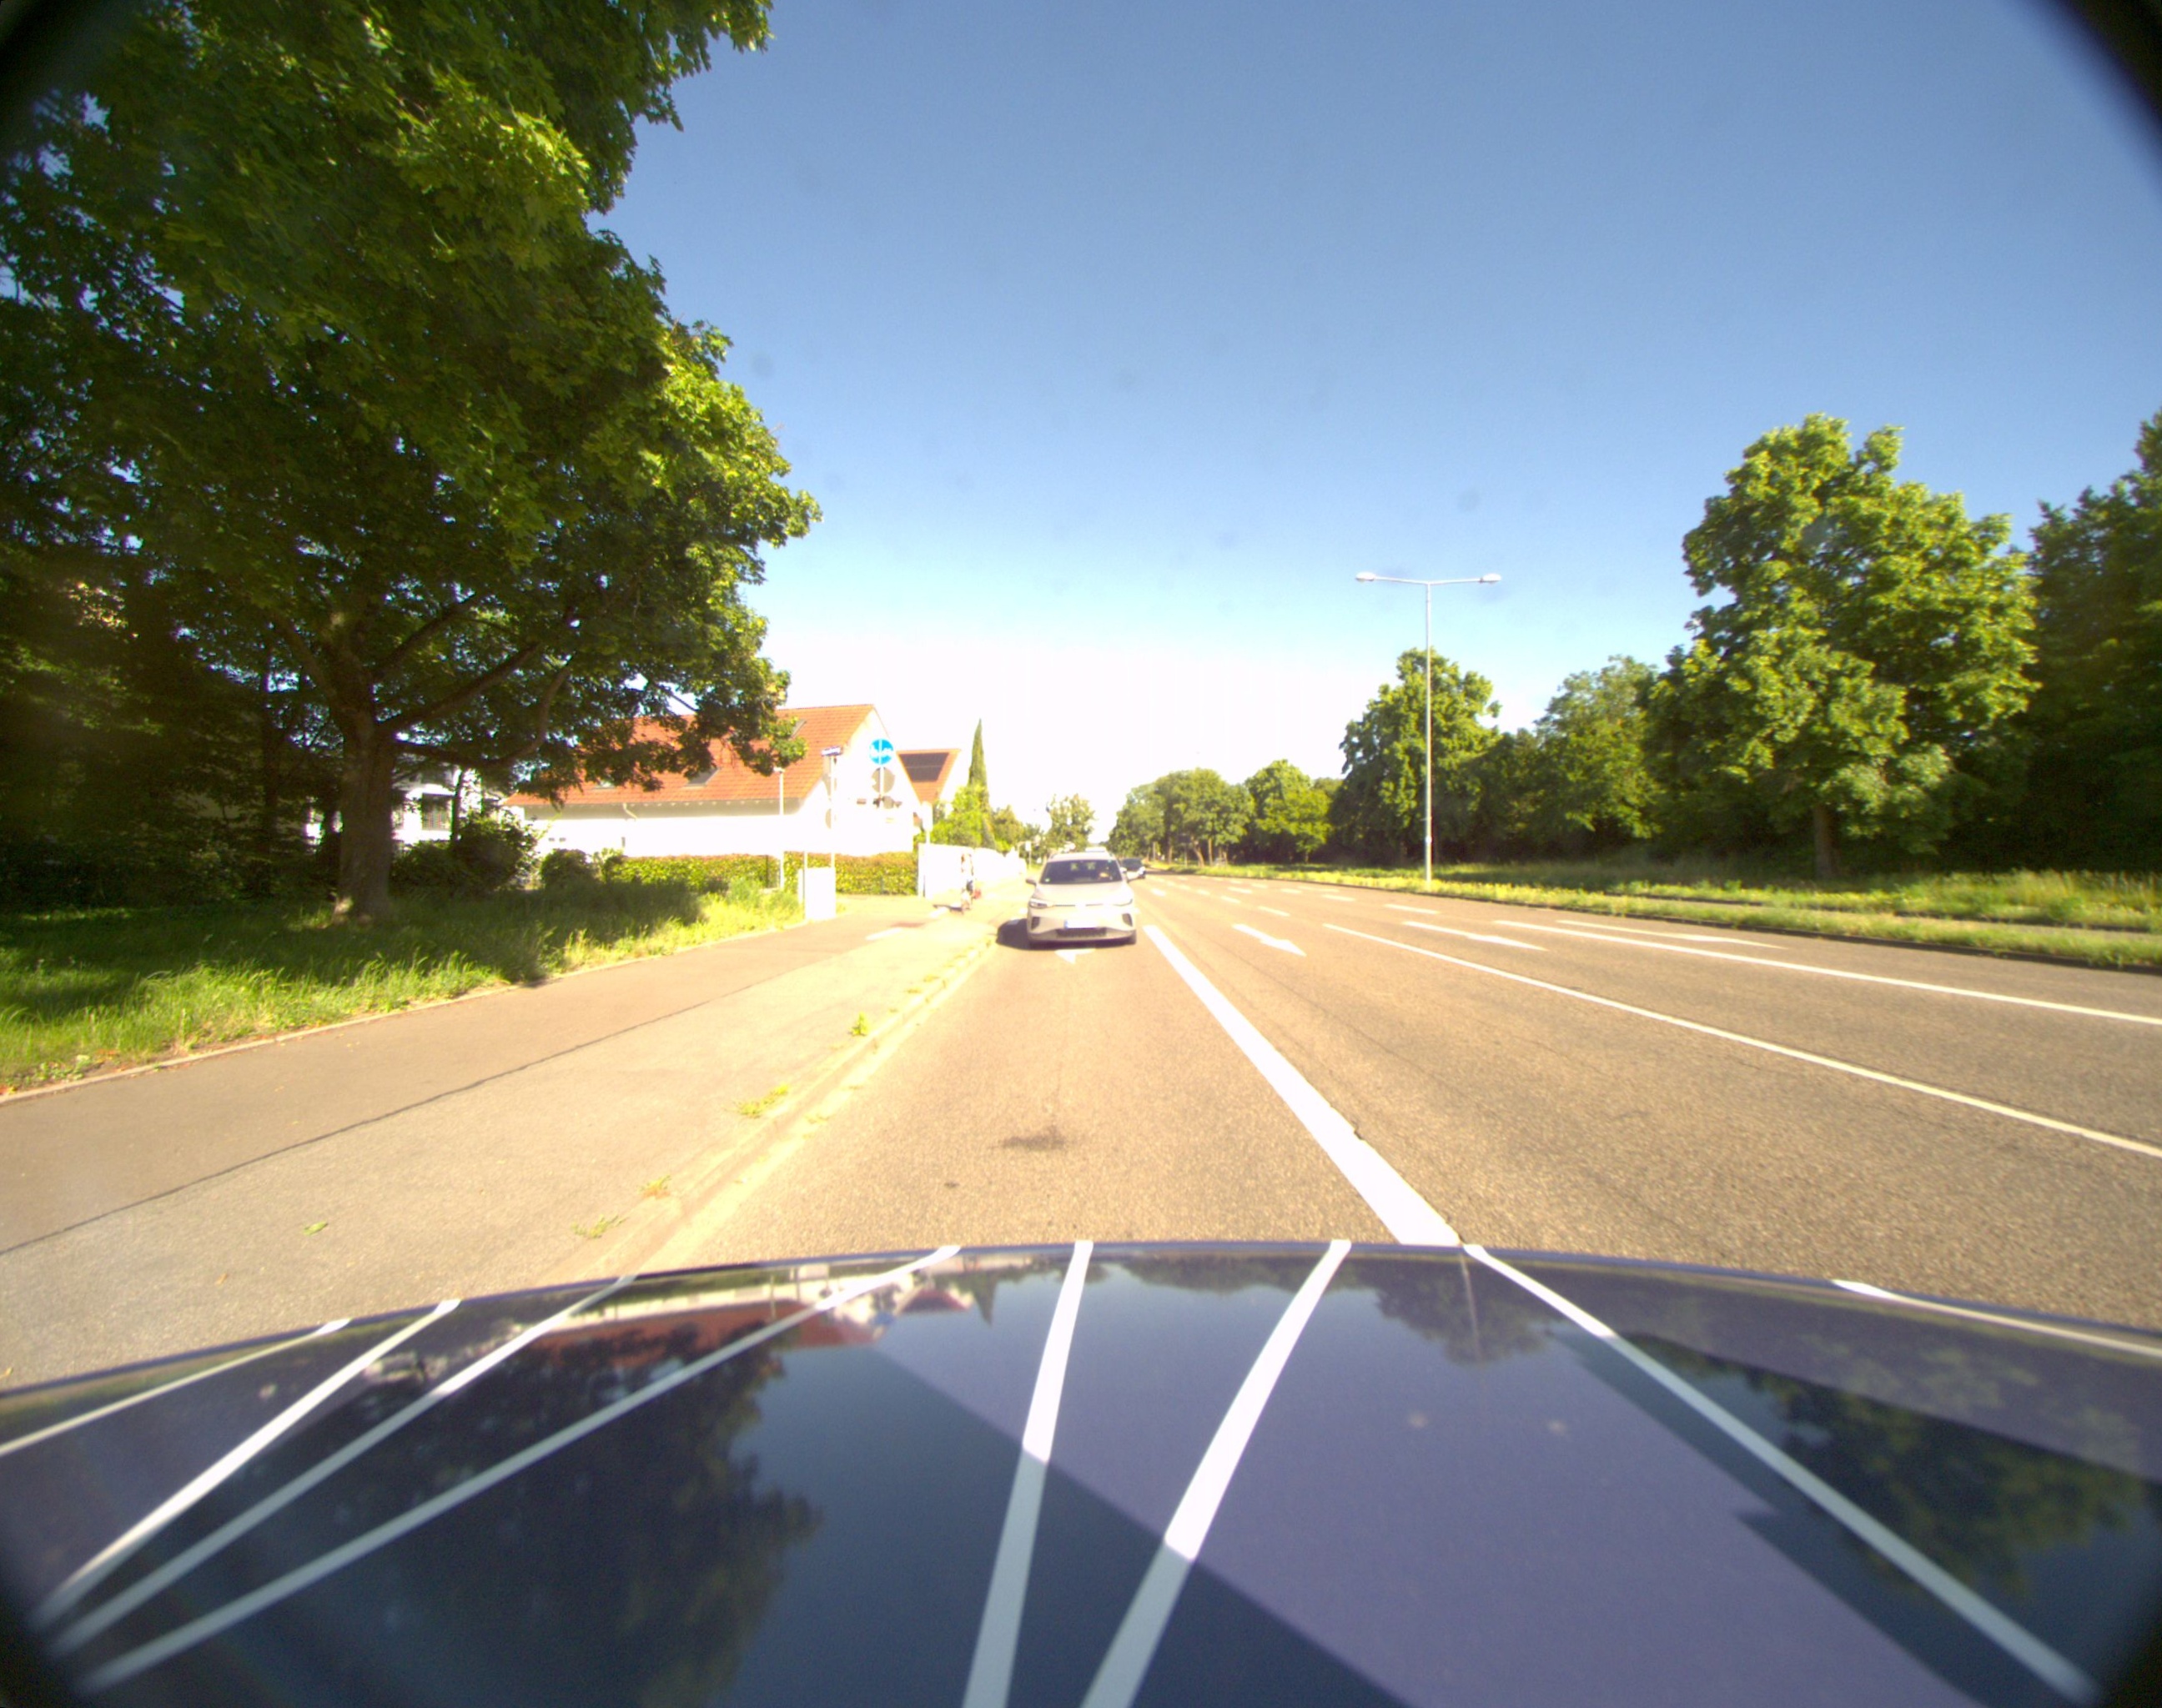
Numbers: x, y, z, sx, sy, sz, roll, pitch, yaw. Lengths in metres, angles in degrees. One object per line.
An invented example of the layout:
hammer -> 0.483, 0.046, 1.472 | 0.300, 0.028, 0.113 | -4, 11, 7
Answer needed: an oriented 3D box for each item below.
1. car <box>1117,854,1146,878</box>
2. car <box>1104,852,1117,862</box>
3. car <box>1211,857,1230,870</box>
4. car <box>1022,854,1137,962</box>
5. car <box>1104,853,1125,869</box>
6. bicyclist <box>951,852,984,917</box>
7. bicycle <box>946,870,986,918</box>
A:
car -> 3.543, 0.824, 54.202 | 1.766, 1.606, 4.297 | -2, 1, 1
car -> 4.886, 0.448, 125.581 | 1.856, 1.576, 3.998 | -2, 1, -3
car -> 19.818, 1.339, 107.929 | 1.917, 1.693, 4.407 | -2, 1, 1
car -> 0.000, 0.870, 14.327 | 1.766, 1.606, 4.297 | -3, 1, 1
car -> 3.525, 0.698, 80.520 | 1.856, 1.576, 3.998 | -2, 1, -3
bicyclist -> -3.017, 0.789, 20.219 | 0.631, 1.624, 0.982 | 3, 2, 3
bicycle -> -3.034, 1.033, 20.199 | 0.575, 1.148, 2.141 | 3, 0, 3
